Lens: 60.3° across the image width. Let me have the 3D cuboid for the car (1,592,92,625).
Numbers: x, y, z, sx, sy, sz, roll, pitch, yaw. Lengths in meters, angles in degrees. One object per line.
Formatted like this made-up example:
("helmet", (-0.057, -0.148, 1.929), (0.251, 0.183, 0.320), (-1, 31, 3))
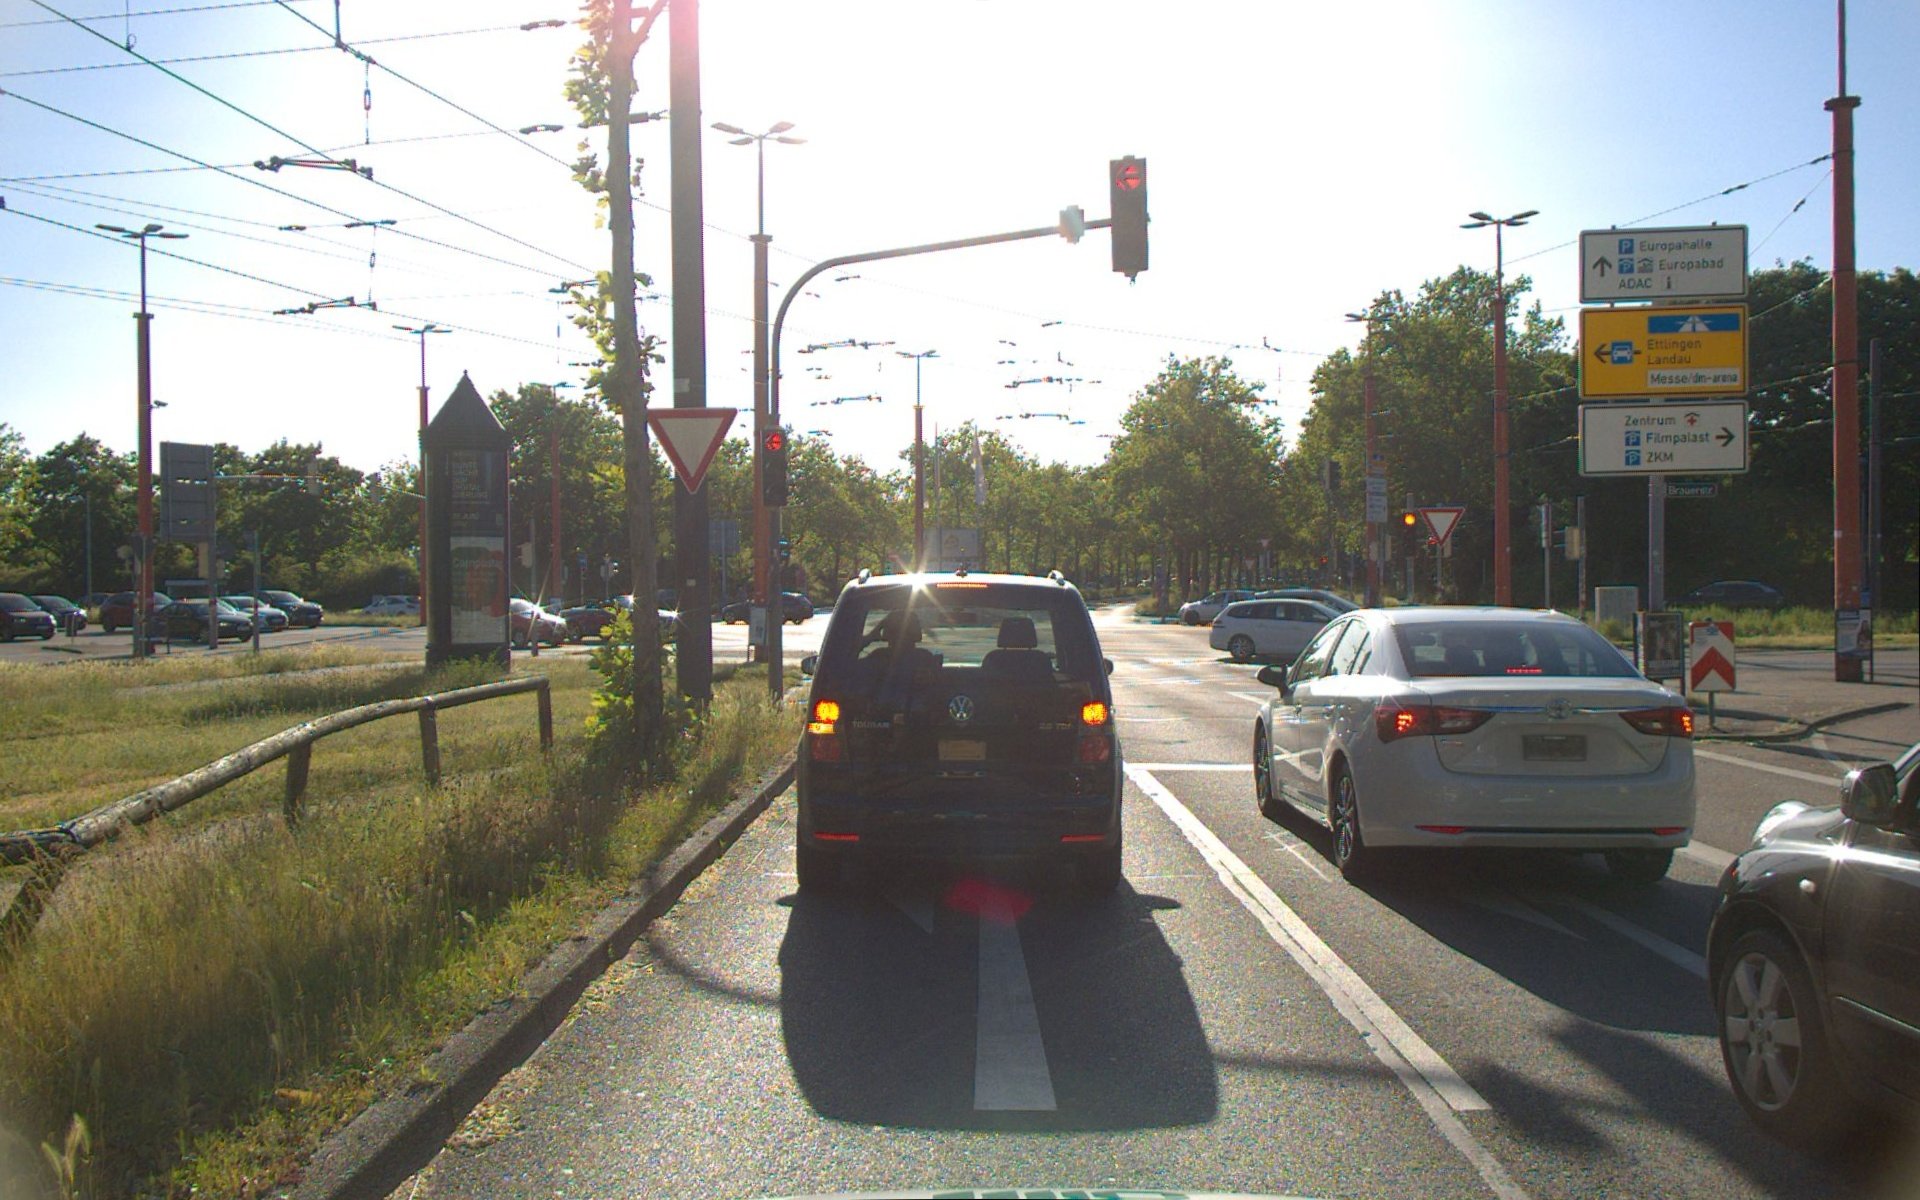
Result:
("car", (-40.873, 0.365, 73.994), (4.060, 1.440, 1.542), (0, 0, 26))

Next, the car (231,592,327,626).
("car", (-29.470, 0.370, 71.548), (4.060, 1.440, 1.542), (0, 0, 26))

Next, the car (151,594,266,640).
("car", (-26.829, 0.588, 59.047), (4.107, 1.546, 1.654), (0, 0, 30))

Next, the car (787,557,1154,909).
("car", (0.064, 0.635, 9.960), (1.703, 1.630, 4.326), (1, 0, 0))

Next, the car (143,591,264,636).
("car", (-29.518, 0.498, 64.531), (4.535, 1.676, 1.755), (0, 0, 24))

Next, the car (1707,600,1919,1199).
("car", (3.132, 0.742, 3.486), (1.544, 1.465, 3.441), (1, 0, 0))

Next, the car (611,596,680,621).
("car", (-18.952, 0.495, 99.805), (1.629, 1.483, 3.899), (0, 0, 44))

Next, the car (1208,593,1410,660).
("car", (8.478, 0.605, 40.274), (4.533, 1.546, 1.655), (0, 0, 27))

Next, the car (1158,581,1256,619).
("car", (10.316, -0.028, 69.026), (3.718, 1.537, 1.654), (0, 0, 28))

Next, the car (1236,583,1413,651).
("car", (9.588, 0.420, 43.603), (4.248, 1.721, 1.653), (0, 0, 32))

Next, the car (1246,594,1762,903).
("car", (3.011, 0.729, 10.182), (1.762, 1.465, 4.326), (1, 0, 0))

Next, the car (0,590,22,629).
("car", (-42.919, 0.398, 71.549), (4.535, 1.676, 1.755), (0, 0, 24))

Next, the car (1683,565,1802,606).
("car", (28.077, -0.516, 59.451), (3.713, 1.427, 1.657), (0, 0, 20))

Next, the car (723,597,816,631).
("car", (-8.952, 0.644, 77.832), (4.050, 1.537, 1.657), (0, 0, 21))

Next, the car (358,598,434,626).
("car", (-30.625, 0.641, 89.839), (3.837, 1.483, 1.655), (0, 0, 26))

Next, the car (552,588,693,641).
("car", (-11.187, 0.459, 54.739), (4.541, 1.676, 1.753), (0, 0, 30))

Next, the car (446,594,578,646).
("car", (-14.101, 0.608, 51.952), (4.110, 1.546, 1.653), (0, 0, 32))

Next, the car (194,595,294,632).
("car", (-29.407, 0.529, 67.925), (4.060, 1.440, 1.542), (0, 0, 26))

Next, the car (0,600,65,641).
("car", (-37.007, 0.776, 64.646), (4.107, 1.546, 1.654), (0, 0, 30))
